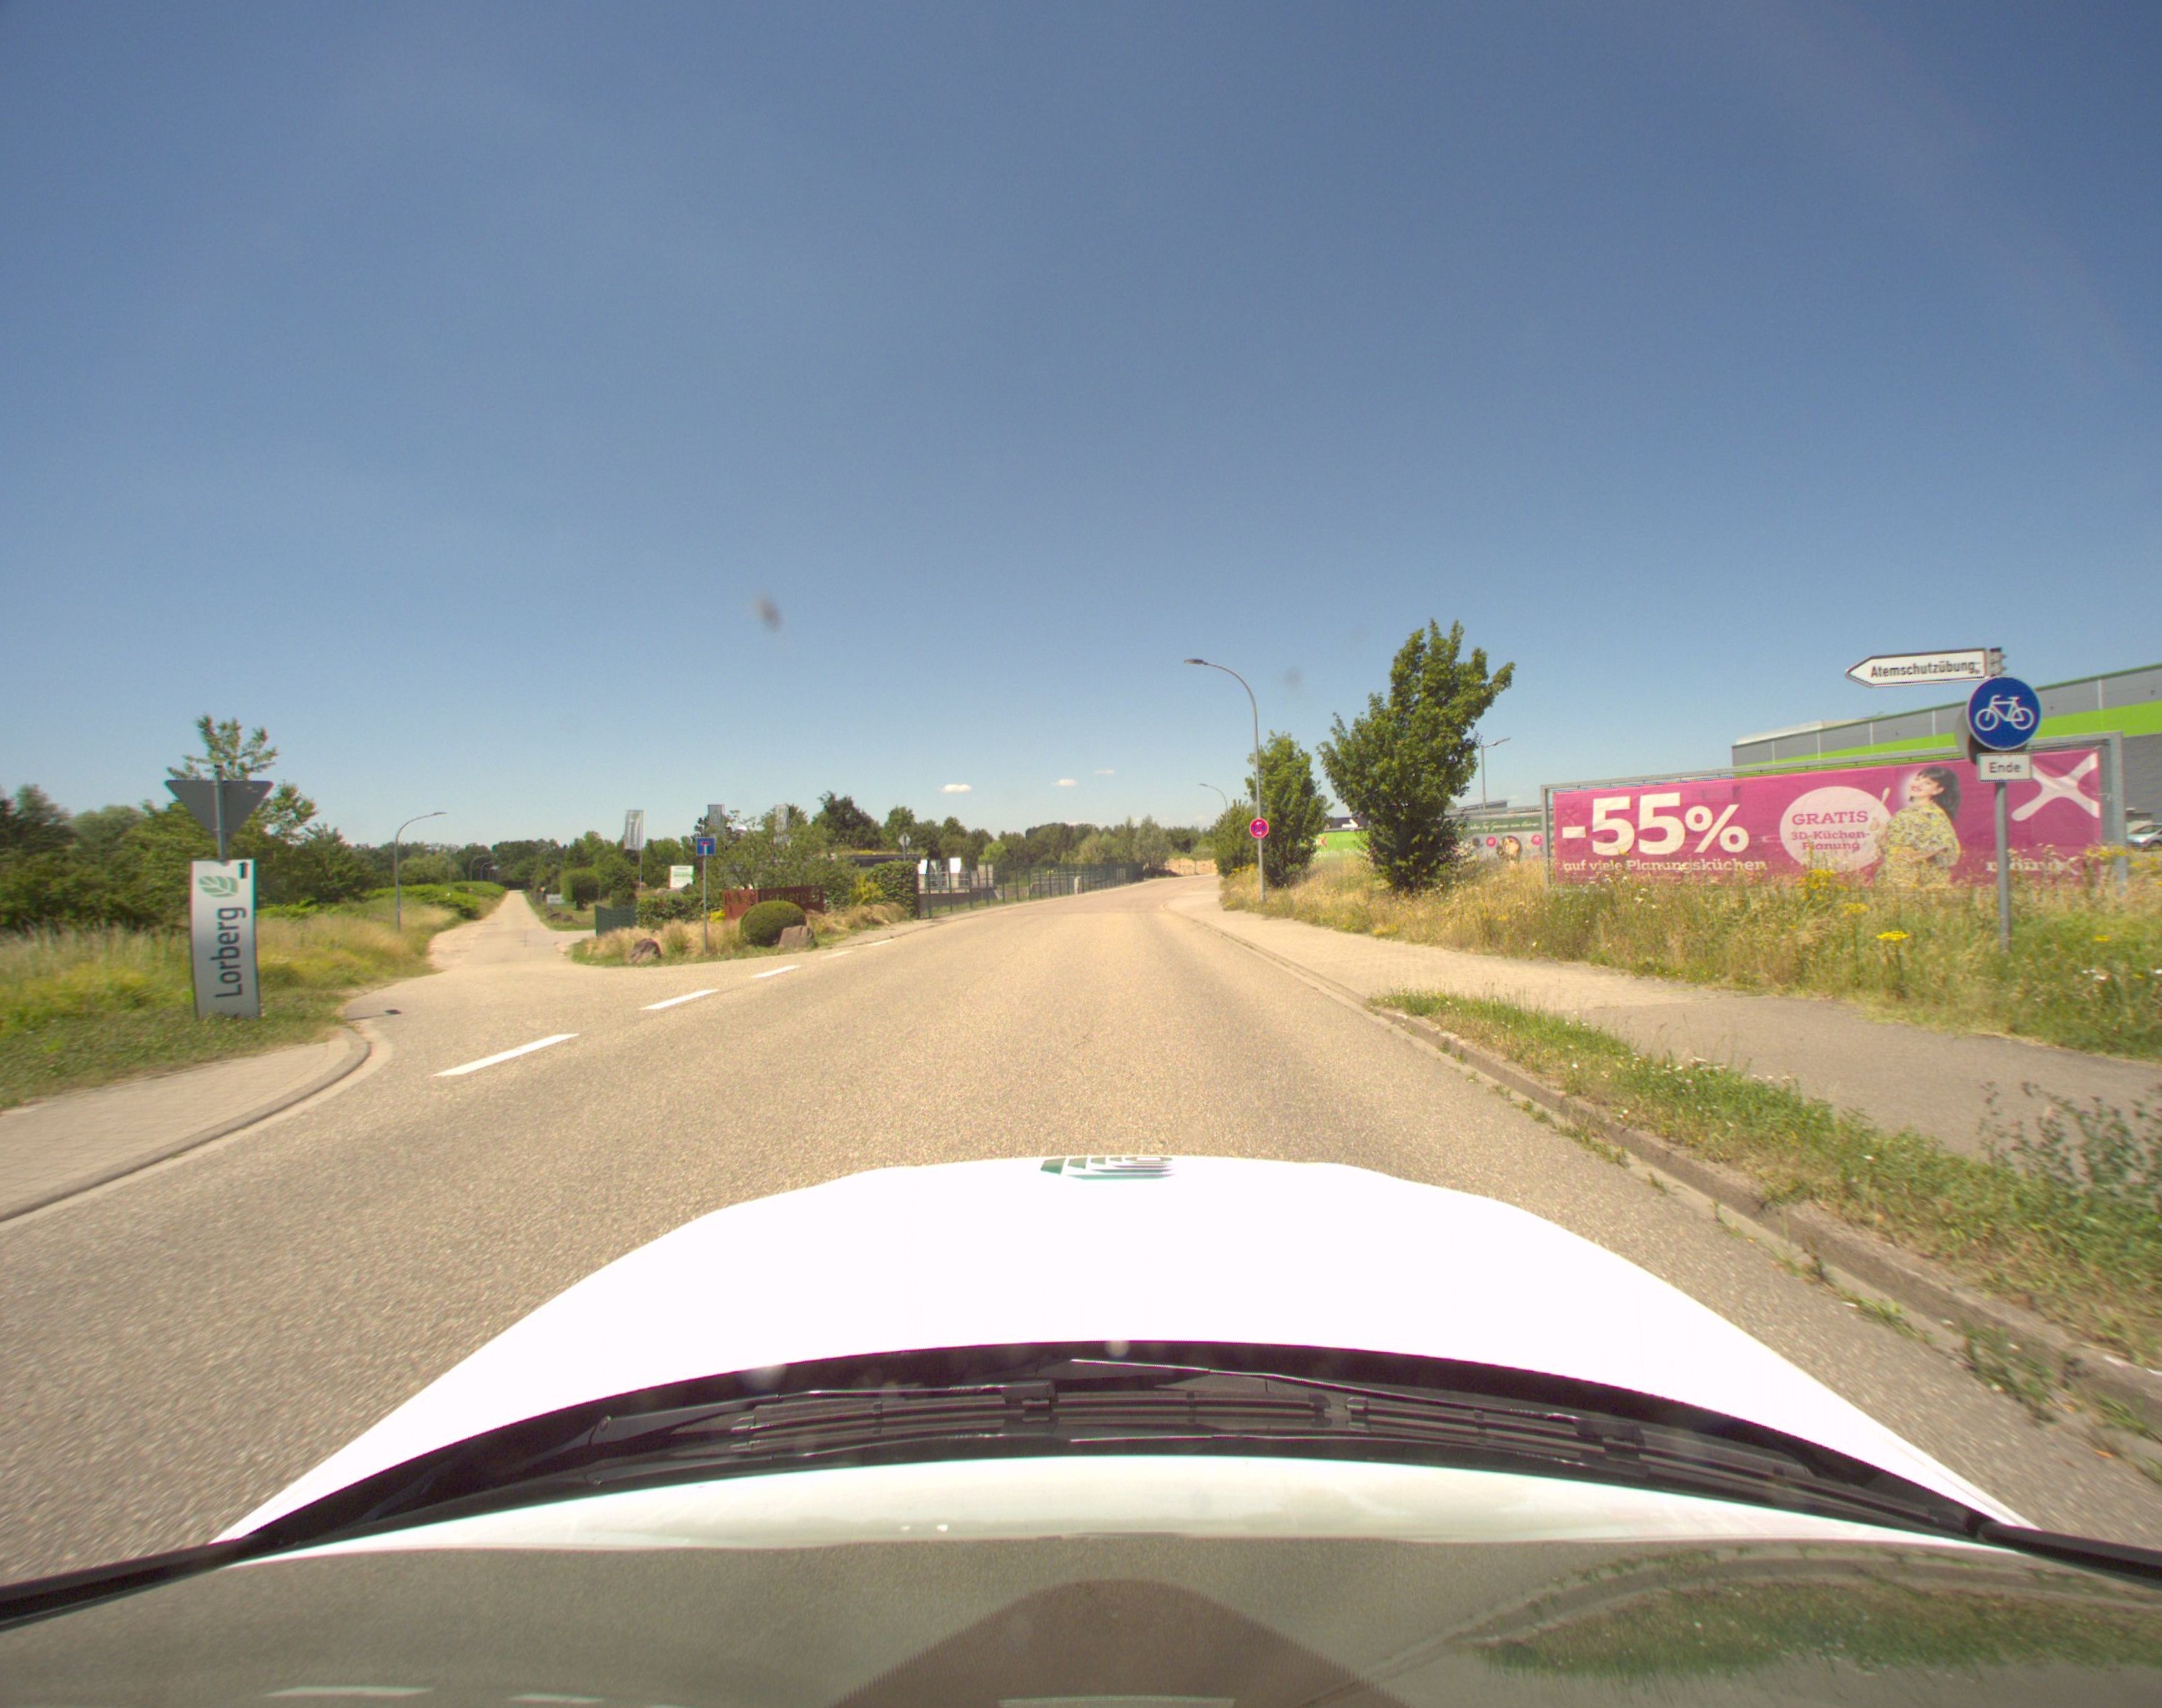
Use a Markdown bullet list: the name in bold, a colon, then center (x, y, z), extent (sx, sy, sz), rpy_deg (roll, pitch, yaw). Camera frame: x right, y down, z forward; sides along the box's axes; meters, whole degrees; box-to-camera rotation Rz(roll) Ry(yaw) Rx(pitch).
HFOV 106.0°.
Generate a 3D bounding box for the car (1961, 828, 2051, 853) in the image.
- **car**: center (65.710, -0.962, 57.918), extent (3.971, 1.519, 2.001), rpy_deg (-3, -2, 2)

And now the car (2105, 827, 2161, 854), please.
- **car**: center (64.256, -0.861, 48.446), extent (3.971, 1.475, 2.001), rpy_deg (-3, -2, 2)

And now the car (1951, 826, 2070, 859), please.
- **car**: center (50.015, -0.592, 43.884), extent (3.971, 1.519, 2.001), rpy_deg (-3, -2, 2)

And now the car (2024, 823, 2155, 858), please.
- **car**: center (50.890, -0.654, 41.173), extent (3.971, 1.519, 2.001), rpy_deg (-3, -2, 2)

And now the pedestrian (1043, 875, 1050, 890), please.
- **pedestrian**: center (-4.401, 3.626, 104.791), extent (0.602, 1.839, 0.807), rpy_deg (-3, -1, 9)
